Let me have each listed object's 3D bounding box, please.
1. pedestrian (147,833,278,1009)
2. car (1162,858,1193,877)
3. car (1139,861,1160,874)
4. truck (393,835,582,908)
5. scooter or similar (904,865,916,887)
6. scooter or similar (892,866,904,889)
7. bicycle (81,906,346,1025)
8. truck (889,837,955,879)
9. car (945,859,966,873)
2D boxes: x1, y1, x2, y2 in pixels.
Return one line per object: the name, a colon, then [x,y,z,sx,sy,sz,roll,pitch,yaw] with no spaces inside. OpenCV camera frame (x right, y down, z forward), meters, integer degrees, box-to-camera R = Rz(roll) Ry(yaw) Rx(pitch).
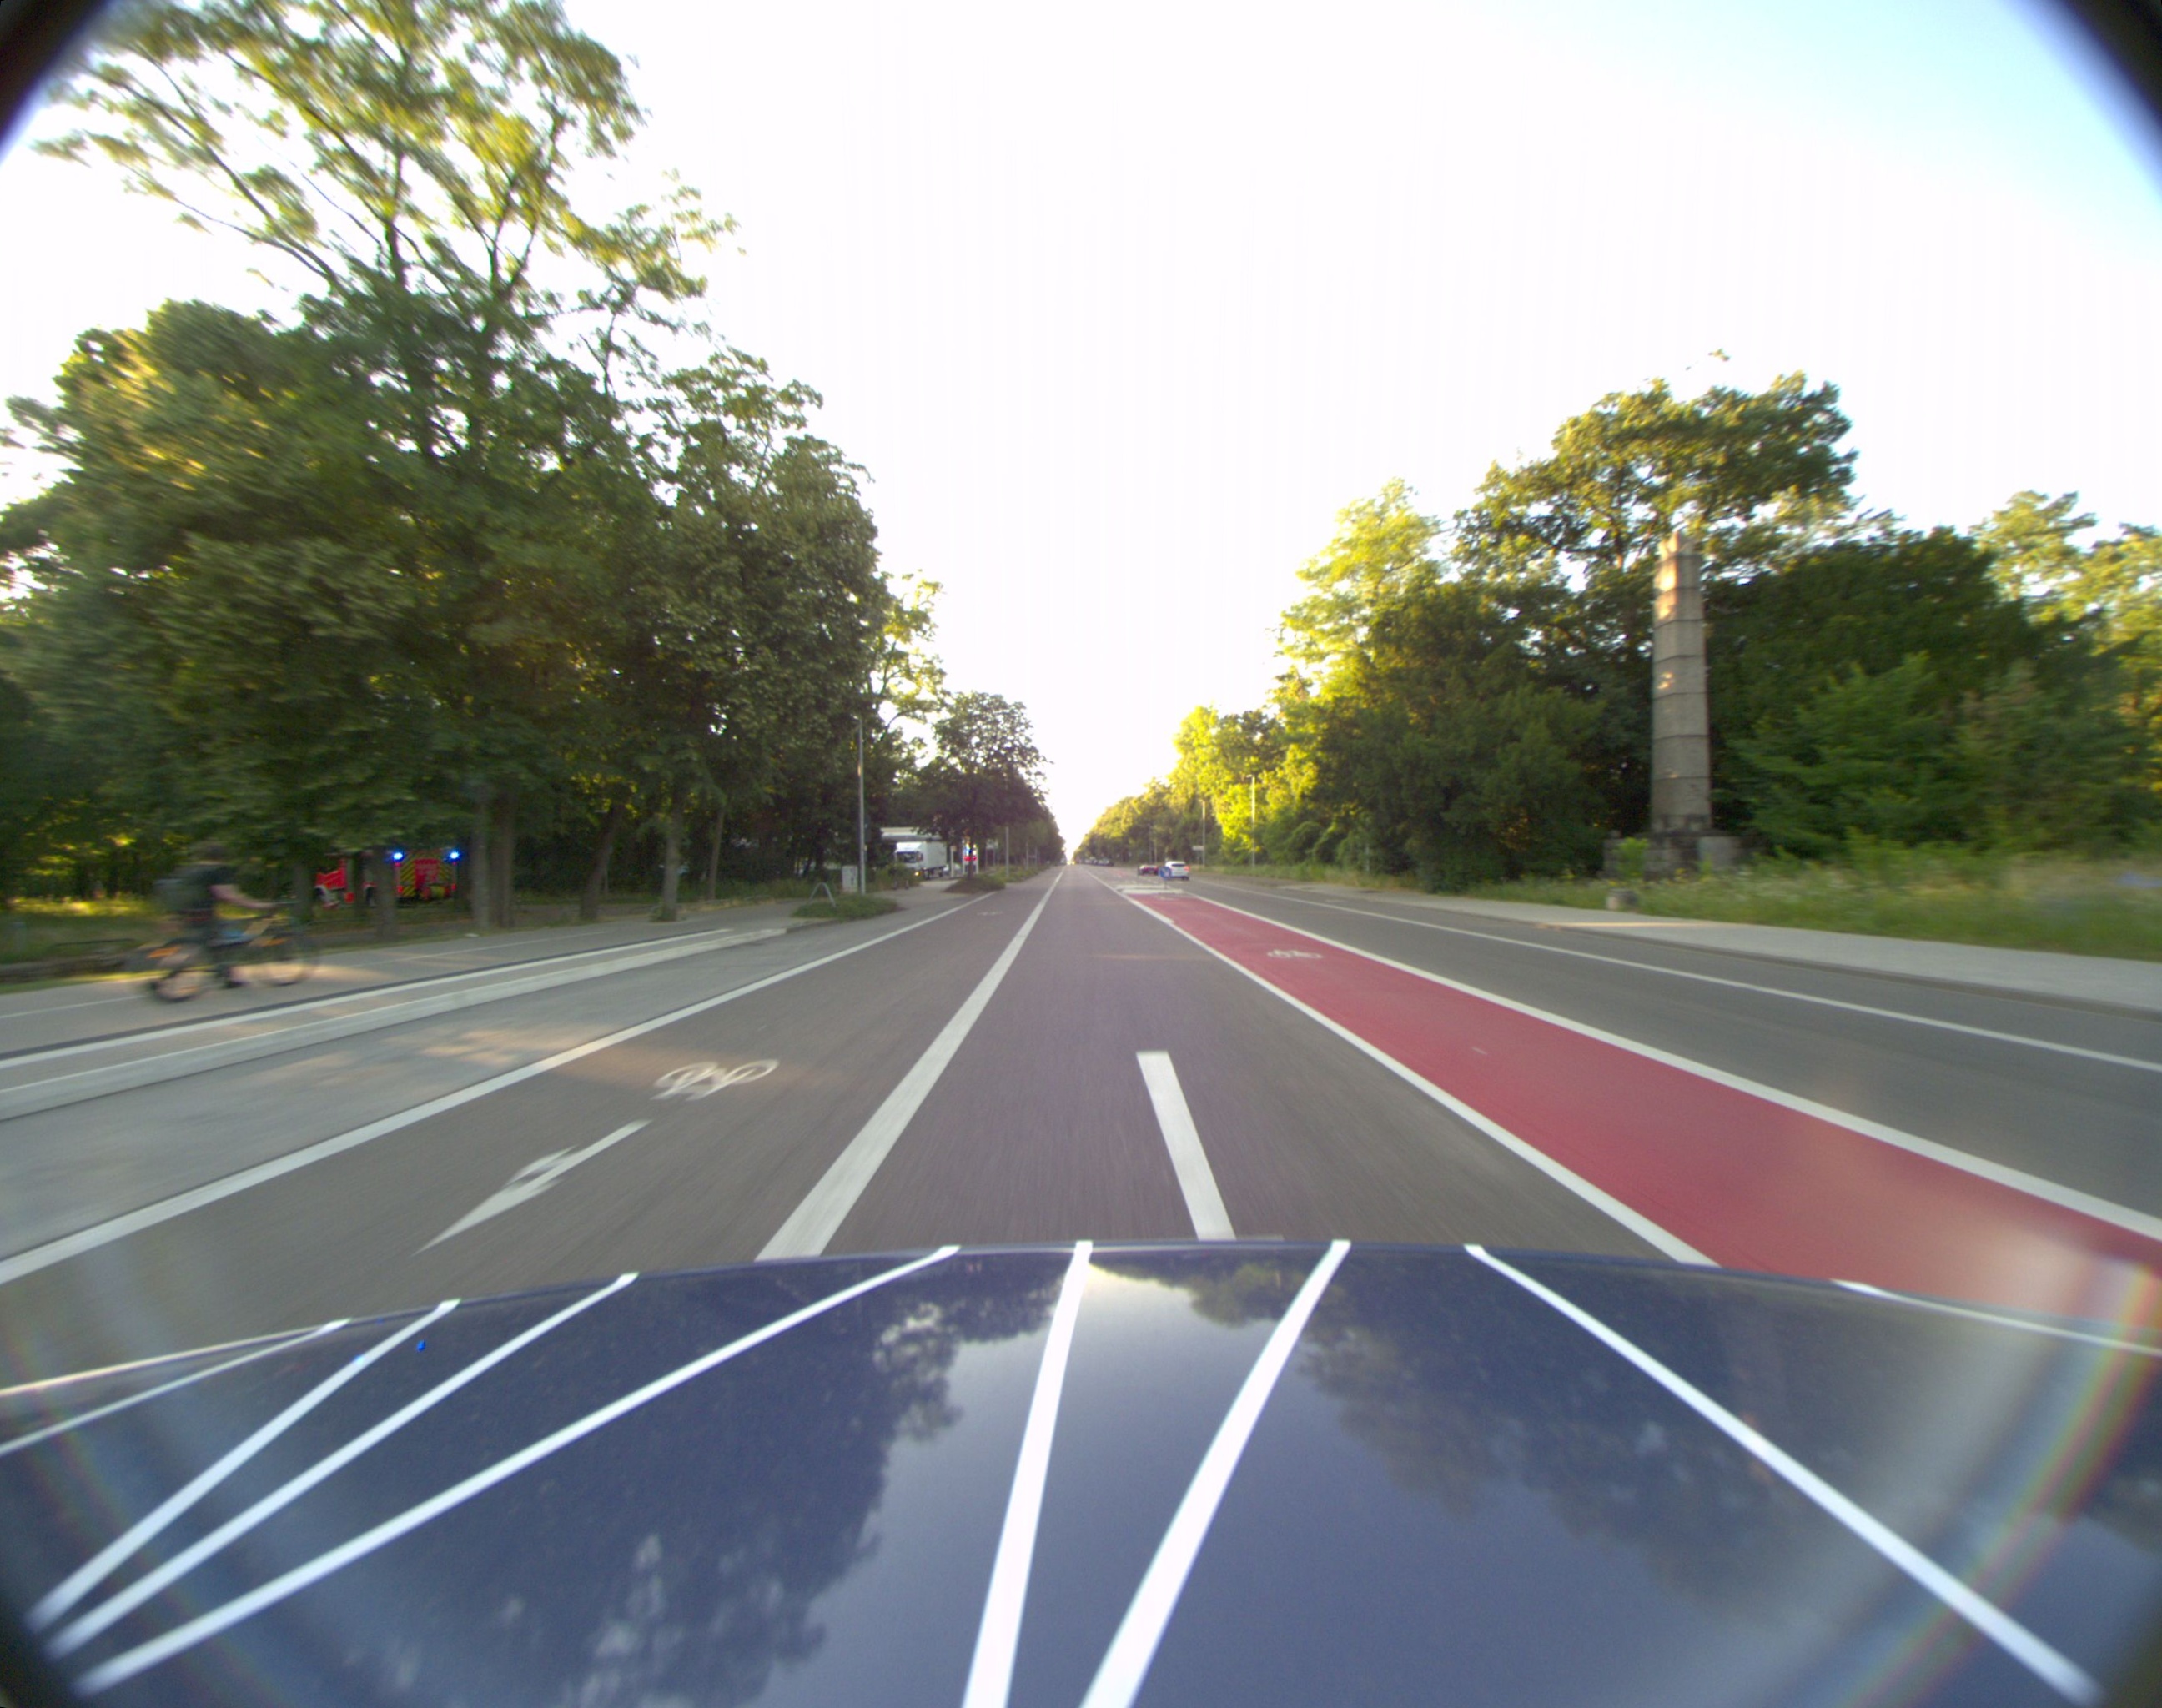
pedestrian: [-10.223,0.761,8.969,0.725,2.002,0.695,0,0,0]
car: [7.543,1.058,59.850,1.851,1.406,4.180,-1,0,0]
car: [7.002,1.379,77.849,1.754,1.299,4.000,0,0,-1]
truck: [-28.196,0.848,36.074,8.645,3.192,2.765,-1,0,19]
scooter or similar: [-9.982,1.278,44.368,0.483,1.274,1.139,0,0,-5]
scooter or similar: [-10.351,1.328,42.911,0.483,1.274,1.231,0,0,-5]
bicycle: [-9.880,1.210,8.805,0.832,1.091,1.968,0,0,-2]
truck: [-15.760,0.371,76.902,3.226,3.707,15.884,-2,0,0]
car: [-15.716,1.442,95.210,1.999,1.581,4.709,-2,0,-3]
